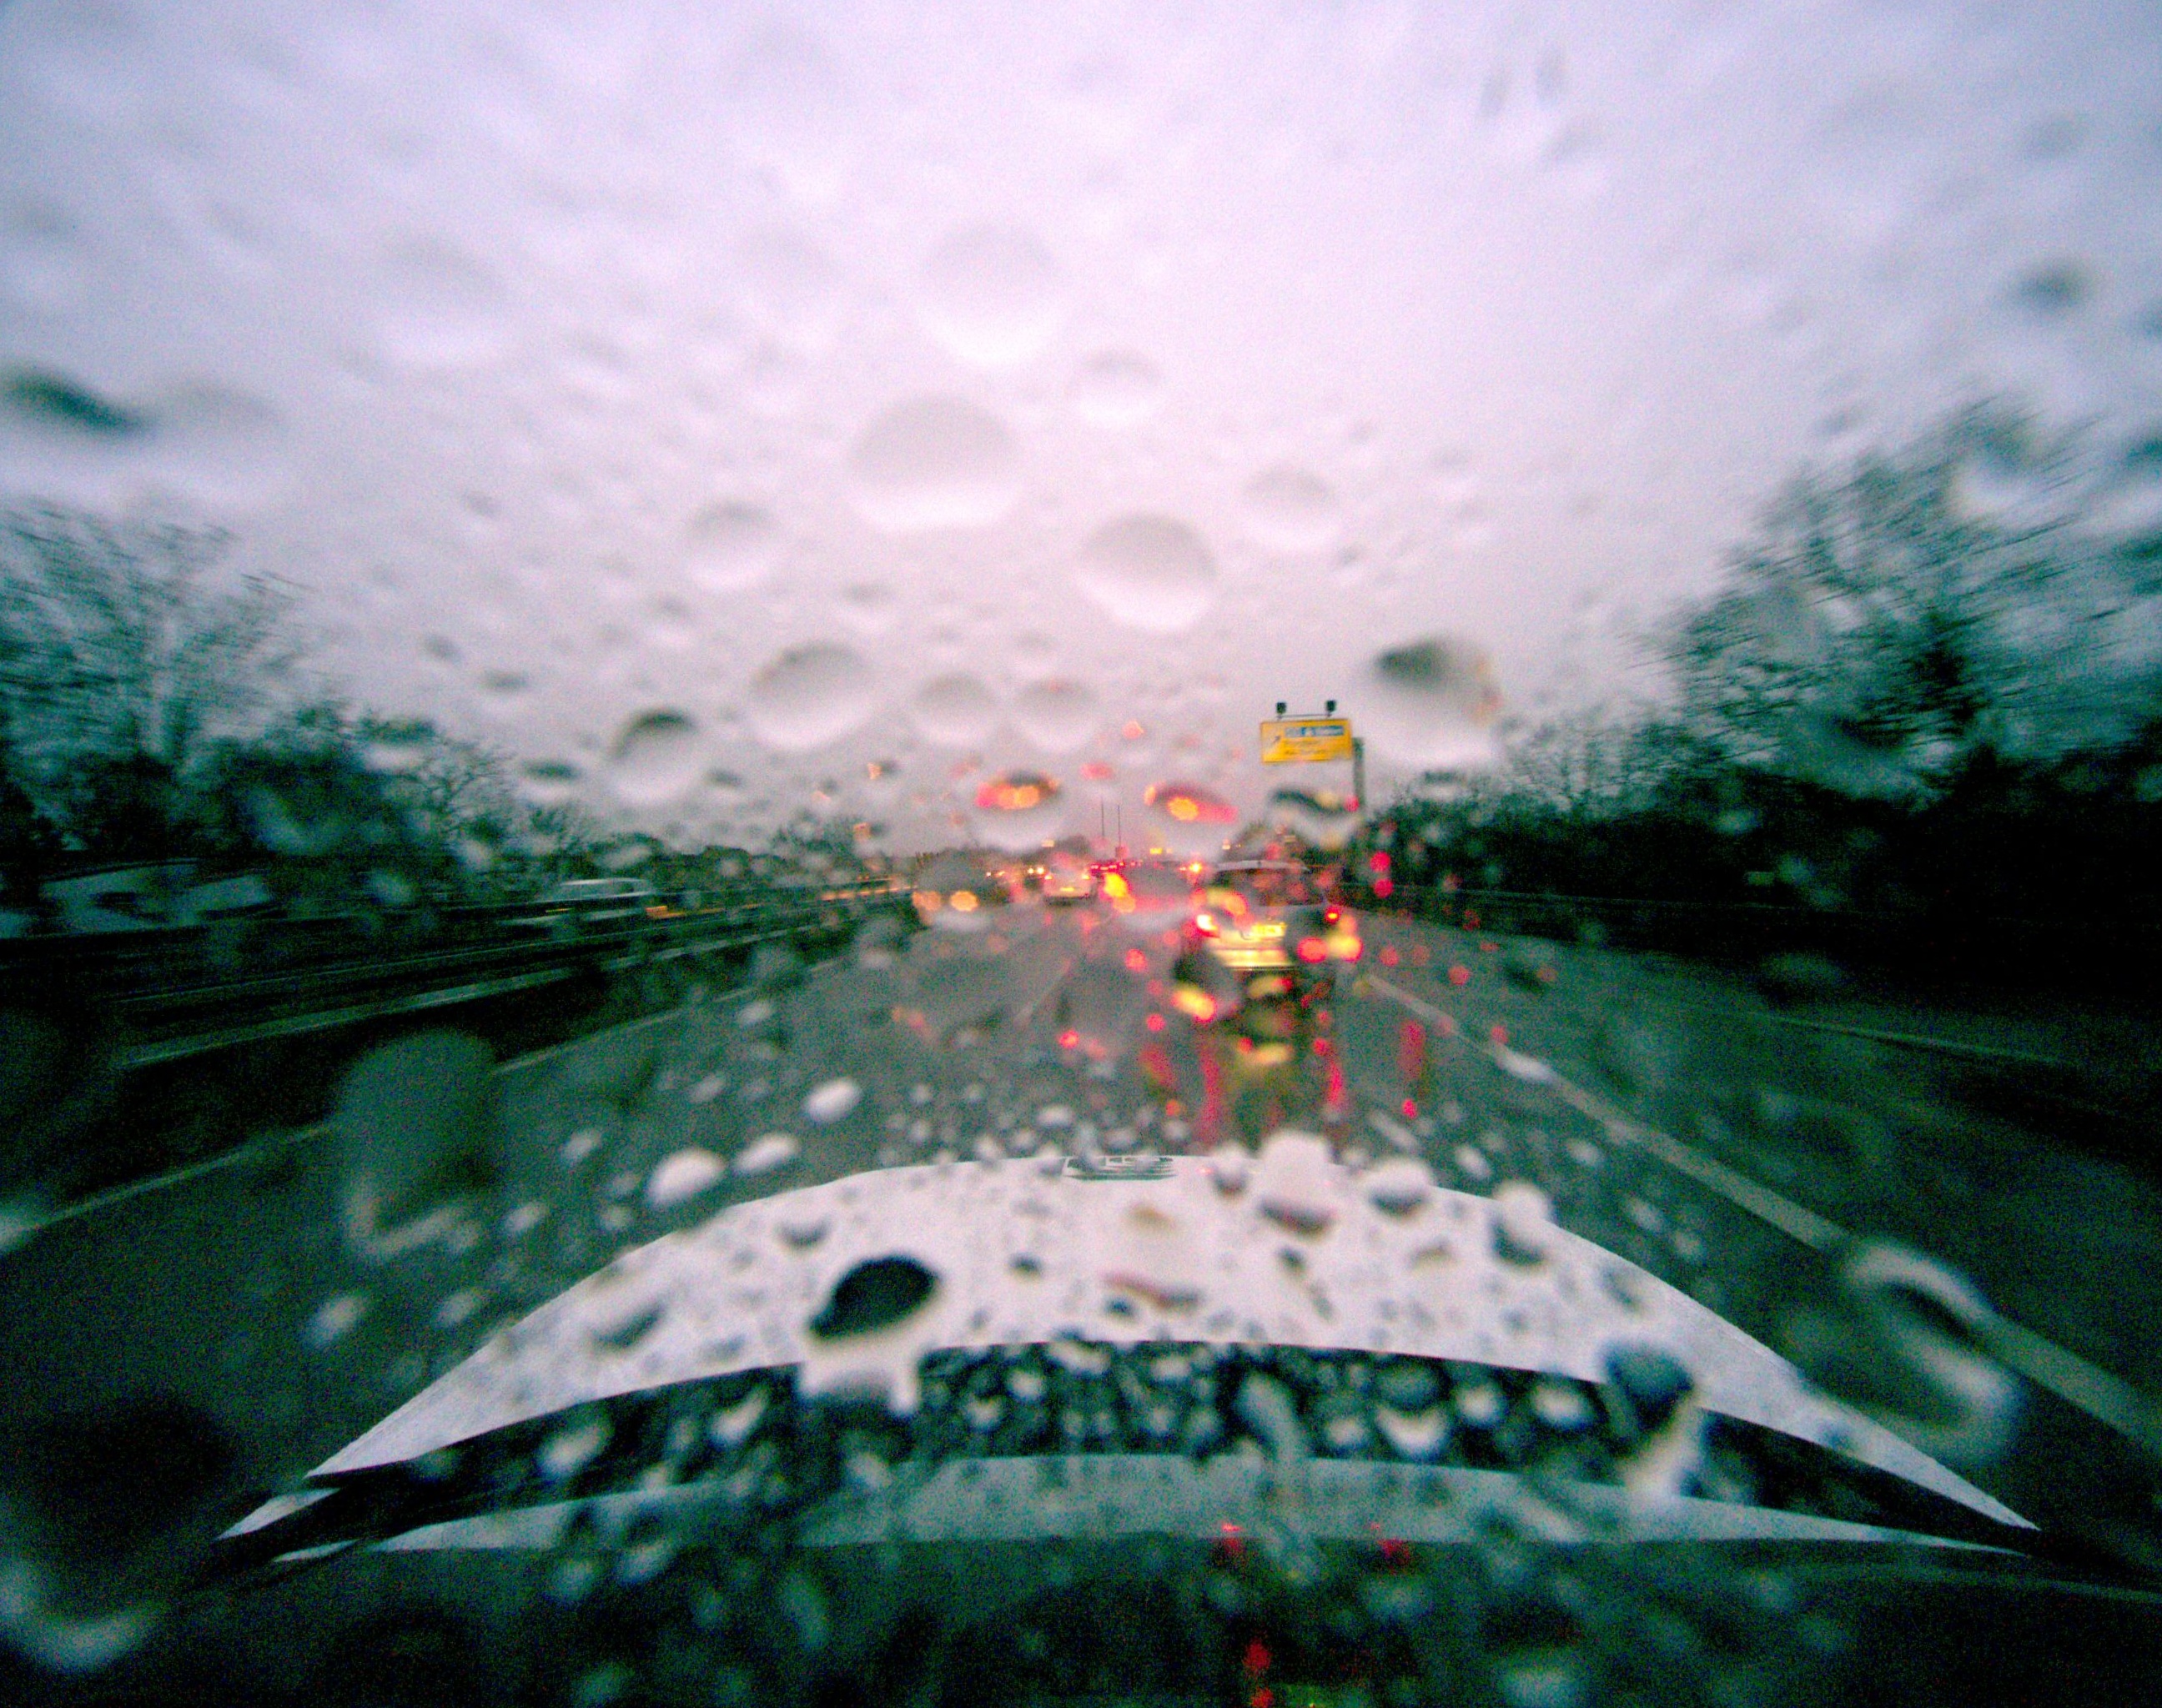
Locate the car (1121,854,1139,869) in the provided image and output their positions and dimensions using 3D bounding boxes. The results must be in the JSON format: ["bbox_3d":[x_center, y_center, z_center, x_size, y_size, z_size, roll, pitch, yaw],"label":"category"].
[{"bbox_3d":[5.444,0.835,90.141,1.780,1.545,4.007,-1,0,6],"label":"car"}]

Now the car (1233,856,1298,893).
[{"bbox_3d":[7.437,0.790,33.191,1.985,1.346,4.004,-2,0,4],"label":"car"}]

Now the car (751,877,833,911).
[{"bbox_3d":[-14.062,1.907,39.919,1.774,1.404,4.323,-2,0,12],"label":"car"}]

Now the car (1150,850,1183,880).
[{"bbox_3d":[5.184,0.655,49.878,1.888,1.767,4.314,-1,0,5],"label":"car"}]

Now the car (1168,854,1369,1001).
[{"bbox_3d":[2.200,0.797,10.684,1.984,1.500,4.143,-2,-1,5],"label":"car"}]

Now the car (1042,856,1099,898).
[{"bbox_3d":[-0.322,0.831,30.780,1.716,1.440,4.231,-1,0,4],"label":"car"}]

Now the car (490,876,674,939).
[{"bbox_3d":[-14.754,1.512,24.468,1.826,1.562,4.702,-1,0,15],"label":"car"}]

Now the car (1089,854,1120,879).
[{"bbox_3d":[1.599,0.812,54.789,1.986,1.601,4.310,0,0,2],"label":"car"}]

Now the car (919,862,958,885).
[{"bbox_3d":[-10.352,1.390,59.512,1.779,1.564,4.855,-2,0,3],"label":"car"}]

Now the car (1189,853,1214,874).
[{"bbox_3d":[9.406,0.714,63.553,1.779,1.545,4.009,-2,0,8],"label":"car"}]
